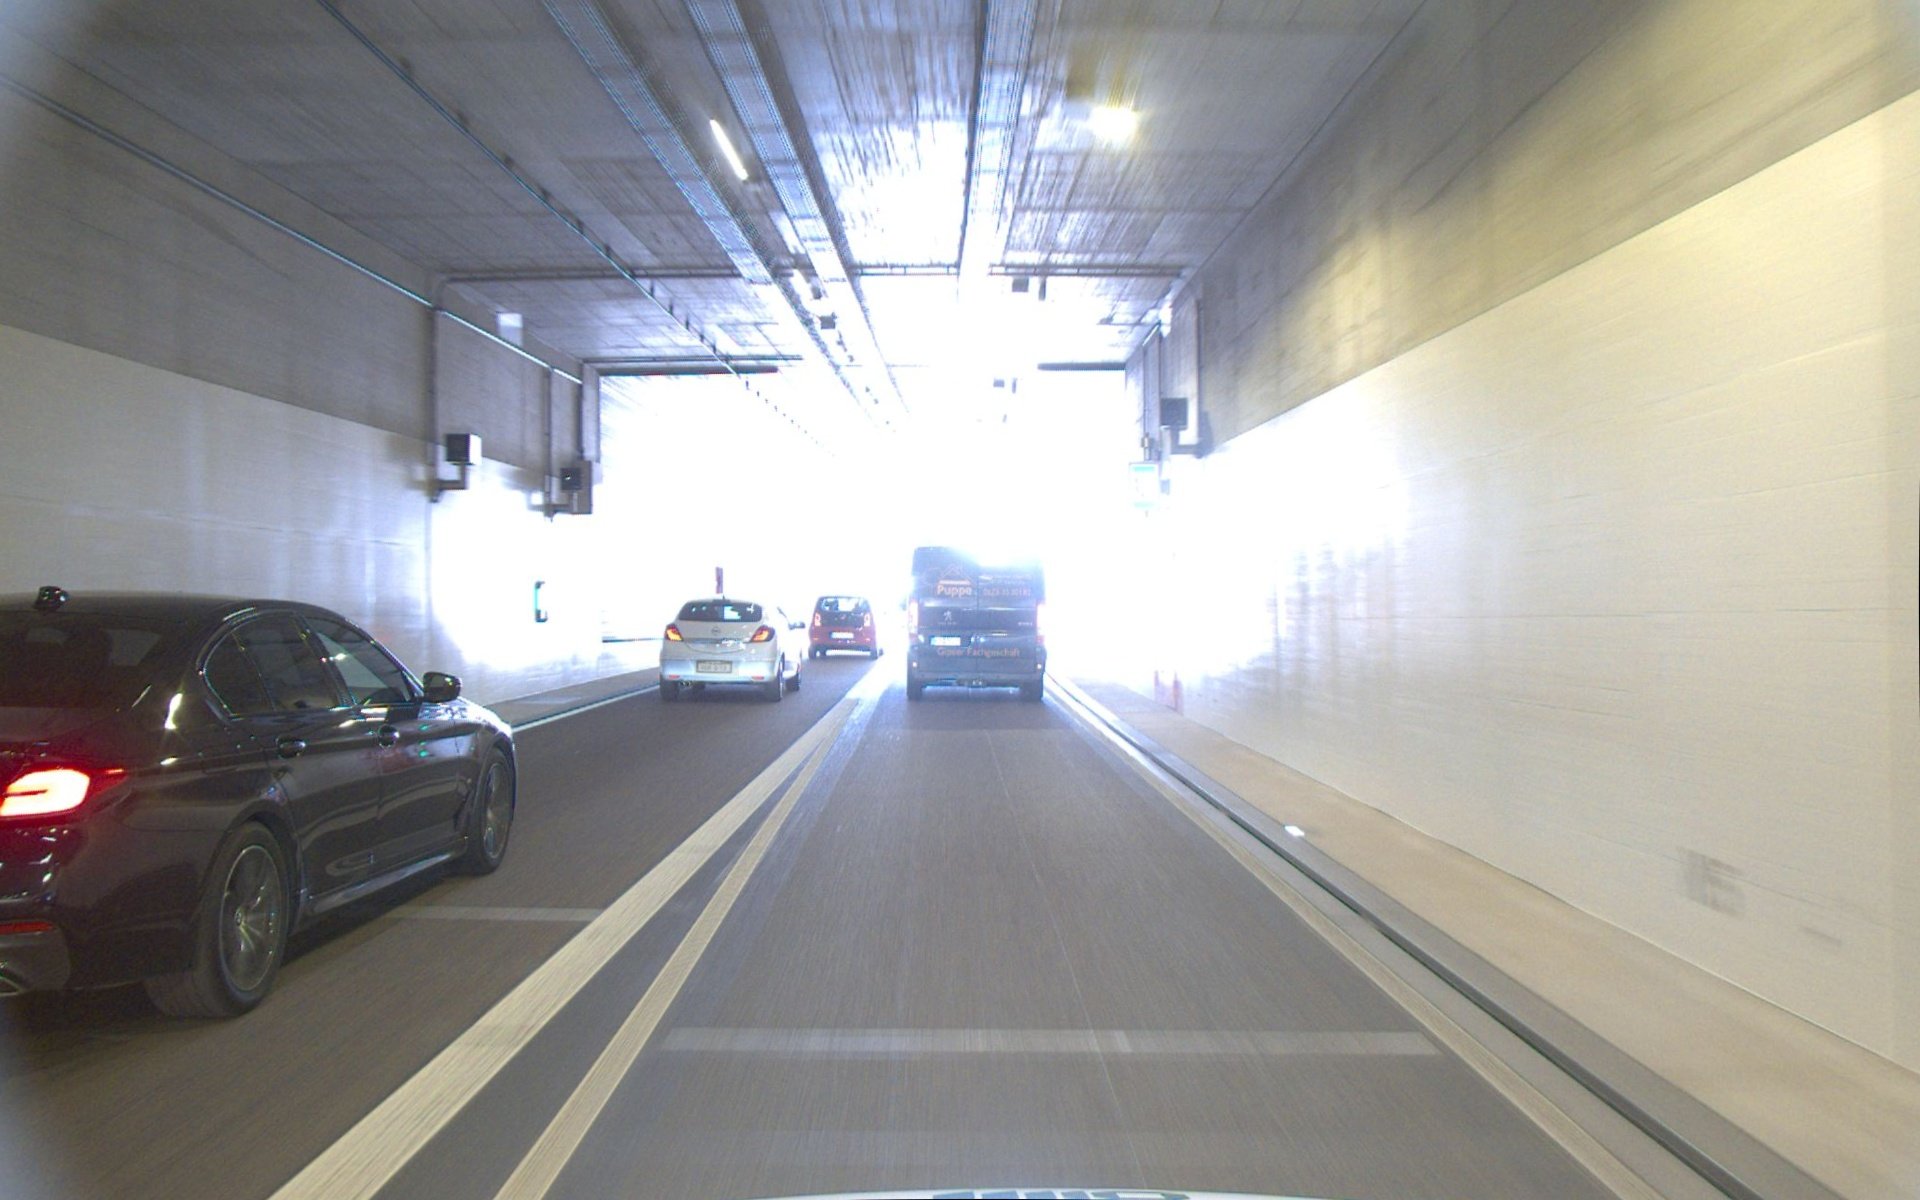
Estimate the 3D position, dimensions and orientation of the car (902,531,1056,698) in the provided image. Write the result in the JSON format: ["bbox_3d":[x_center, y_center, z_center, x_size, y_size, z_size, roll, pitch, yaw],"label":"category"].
[{"bbox_3d":[0.264,0.170,25.315,2.114,2.305,4.637,1,1,0],"label":"car"}]

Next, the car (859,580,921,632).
[{"bbox_3d":[-2.260,0.227,54.387,1.838,1.609,4.219,2,-1,0],"label":"car"}]

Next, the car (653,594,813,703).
[{"bbox_3d":[-3.188,0.630,23.906,1.673,1.438,3.975,0,0,1],"label":"car"}]

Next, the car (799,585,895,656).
[{"bbox_3d":[-2.584,0.437,38.652,1.777,1.538,4.221,2,0,2],"label":"car"}]

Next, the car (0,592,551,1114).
[{"bbox_3d":[-3.220,0.698,7.042,1.661,1.447,4.852,1,0,1],"label":"car"}]
